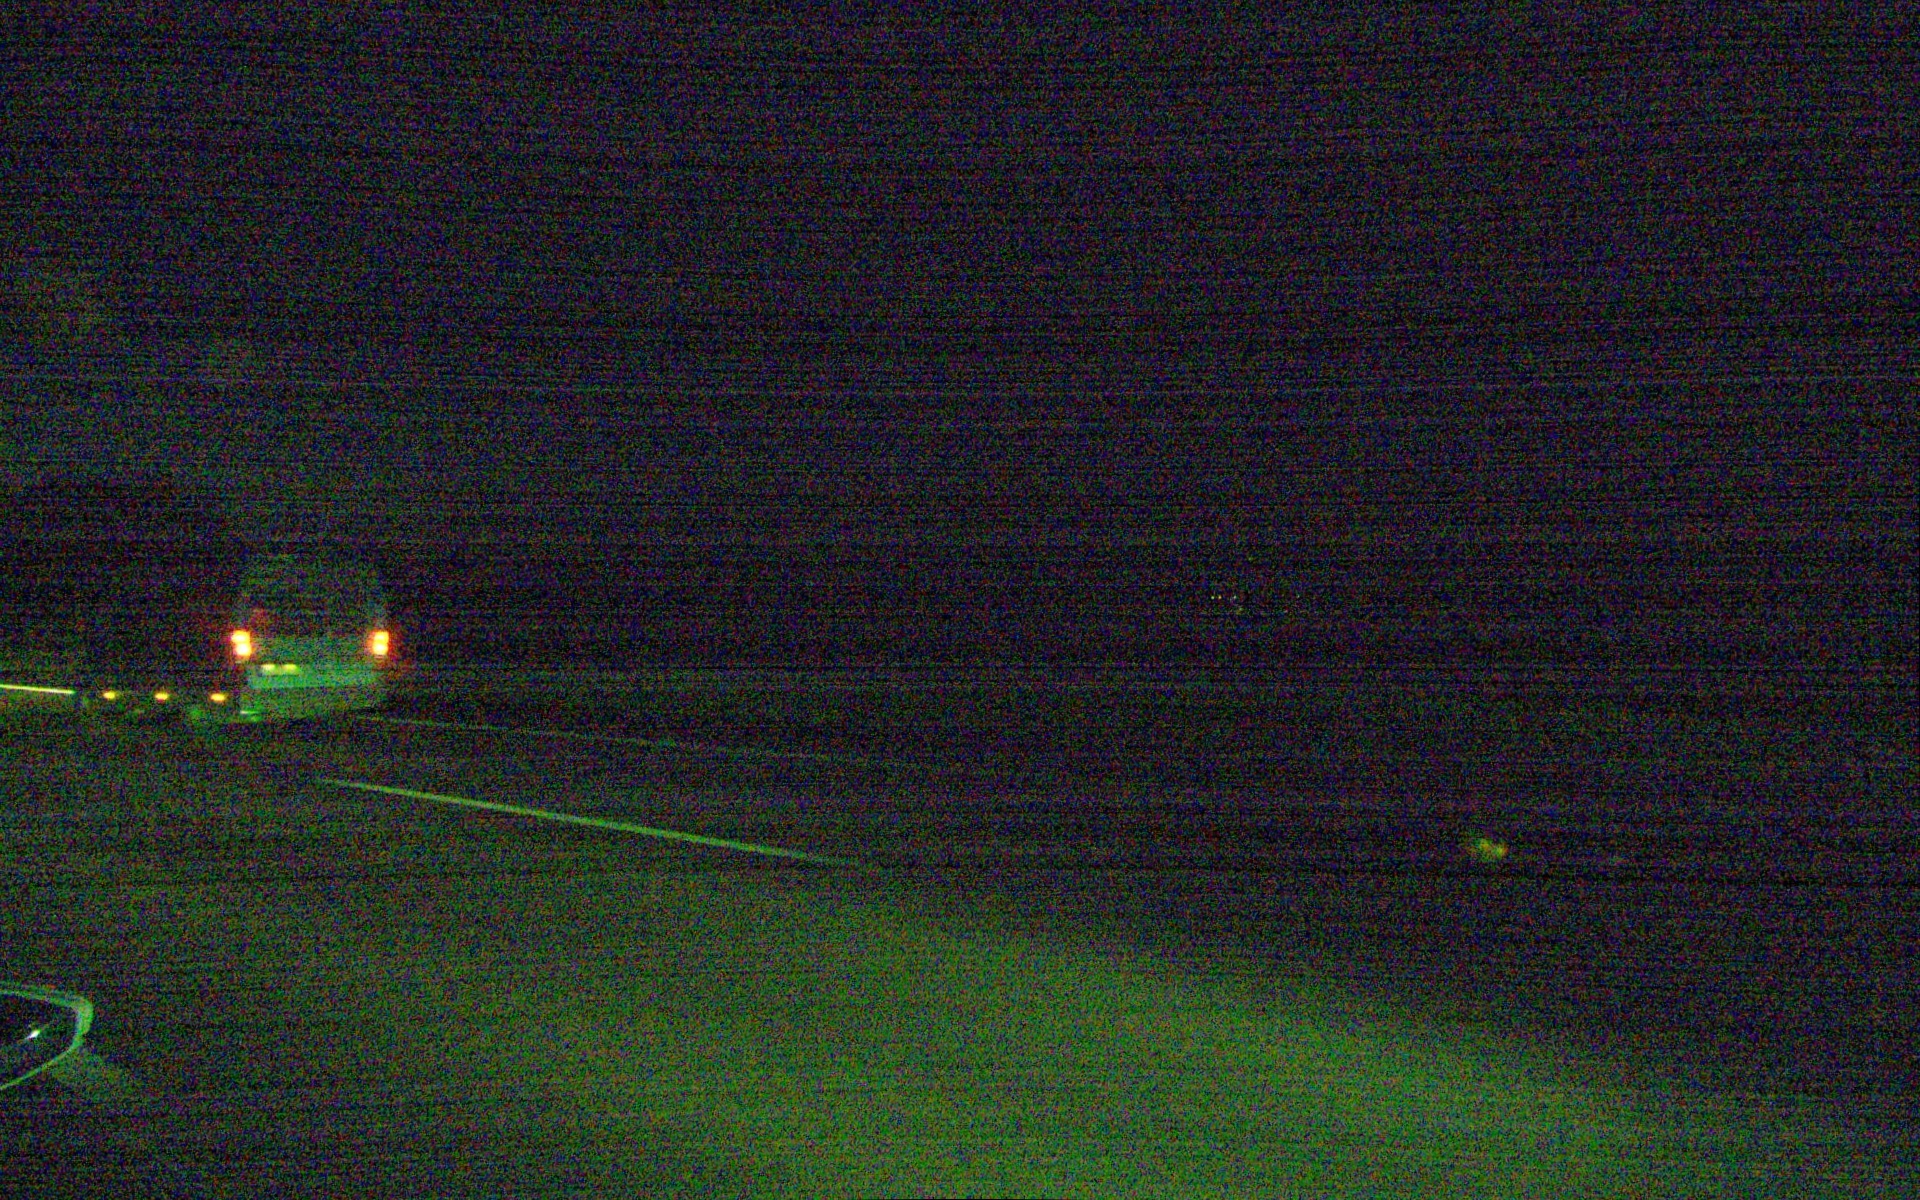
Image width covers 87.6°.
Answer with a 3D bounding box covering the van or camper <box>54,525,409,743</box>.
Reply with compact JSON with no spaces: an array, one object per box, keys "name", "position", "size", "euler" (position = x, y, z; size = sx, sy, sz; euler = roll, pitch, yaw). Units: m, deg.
[{"name":"van or camper","position":[-11.561,0.494,15.679],"size":[6.707,2.807,2.203],"euler":[-1,-1,33]}]
